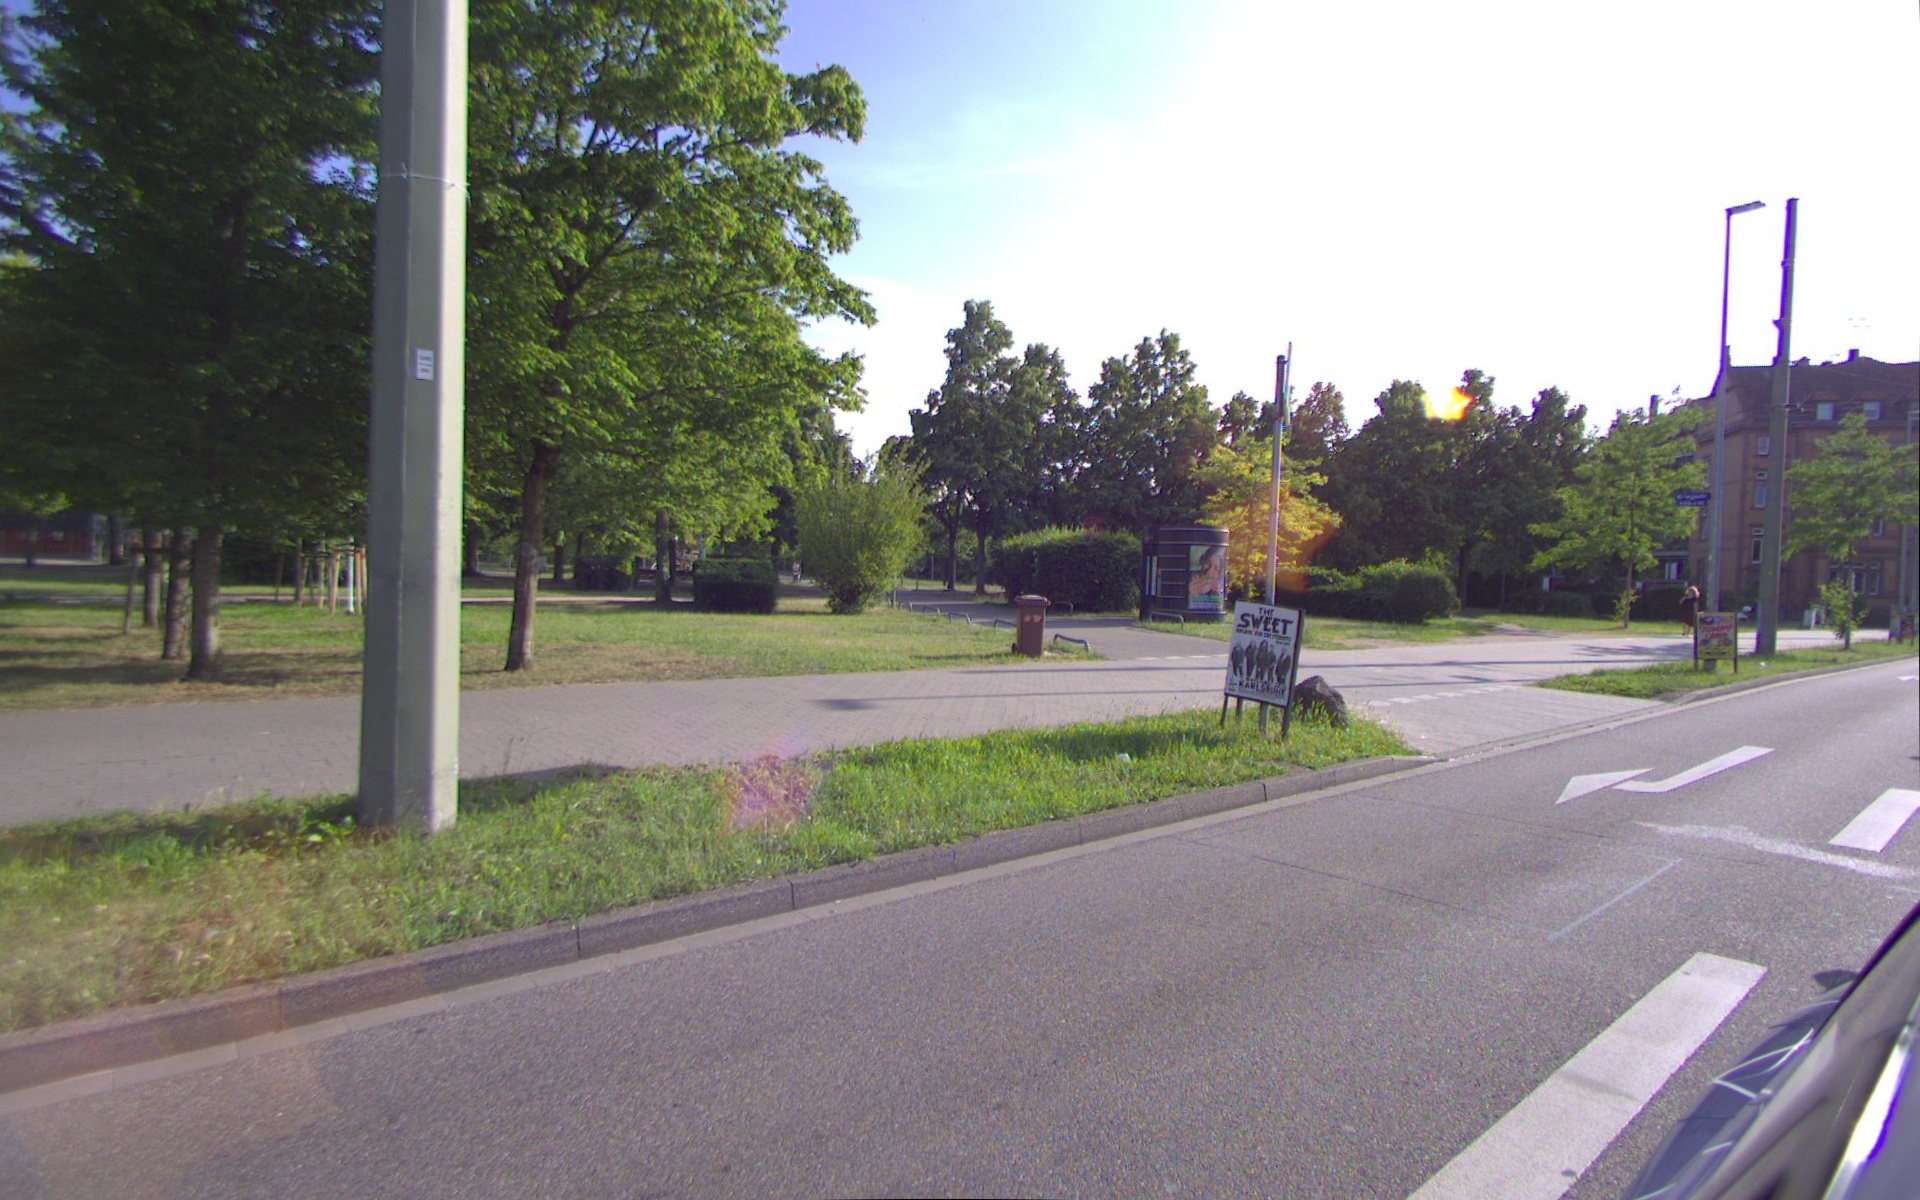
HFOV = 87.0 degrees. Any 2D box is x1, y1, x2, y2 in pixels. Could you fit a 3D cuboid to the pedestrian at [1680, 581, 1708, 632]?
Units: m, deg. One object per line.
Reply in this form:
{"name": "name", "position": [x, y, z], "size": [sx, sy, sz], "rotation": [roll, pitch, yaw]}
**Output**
{"name": "pedestrian", "position": [25.011, 0.206, 34.490], "size": [0.607, 1.706, 0.621], "rotation": [1, 0, -40]}

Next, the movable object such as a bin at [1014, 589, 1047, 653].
{"name": "movable object such as a bin", "position": [1.071, 0.316, 15.423], "size": [0.448, 0.929, 0.605], "rotation": [2, 1, 1]}

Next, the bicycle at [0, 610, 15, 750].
{"name": "bicycle", "position": [-6.418, 0.458, 5.292], "size": [2.130, 0.766, 0.496], "rotation": [0, 3, -41]}
